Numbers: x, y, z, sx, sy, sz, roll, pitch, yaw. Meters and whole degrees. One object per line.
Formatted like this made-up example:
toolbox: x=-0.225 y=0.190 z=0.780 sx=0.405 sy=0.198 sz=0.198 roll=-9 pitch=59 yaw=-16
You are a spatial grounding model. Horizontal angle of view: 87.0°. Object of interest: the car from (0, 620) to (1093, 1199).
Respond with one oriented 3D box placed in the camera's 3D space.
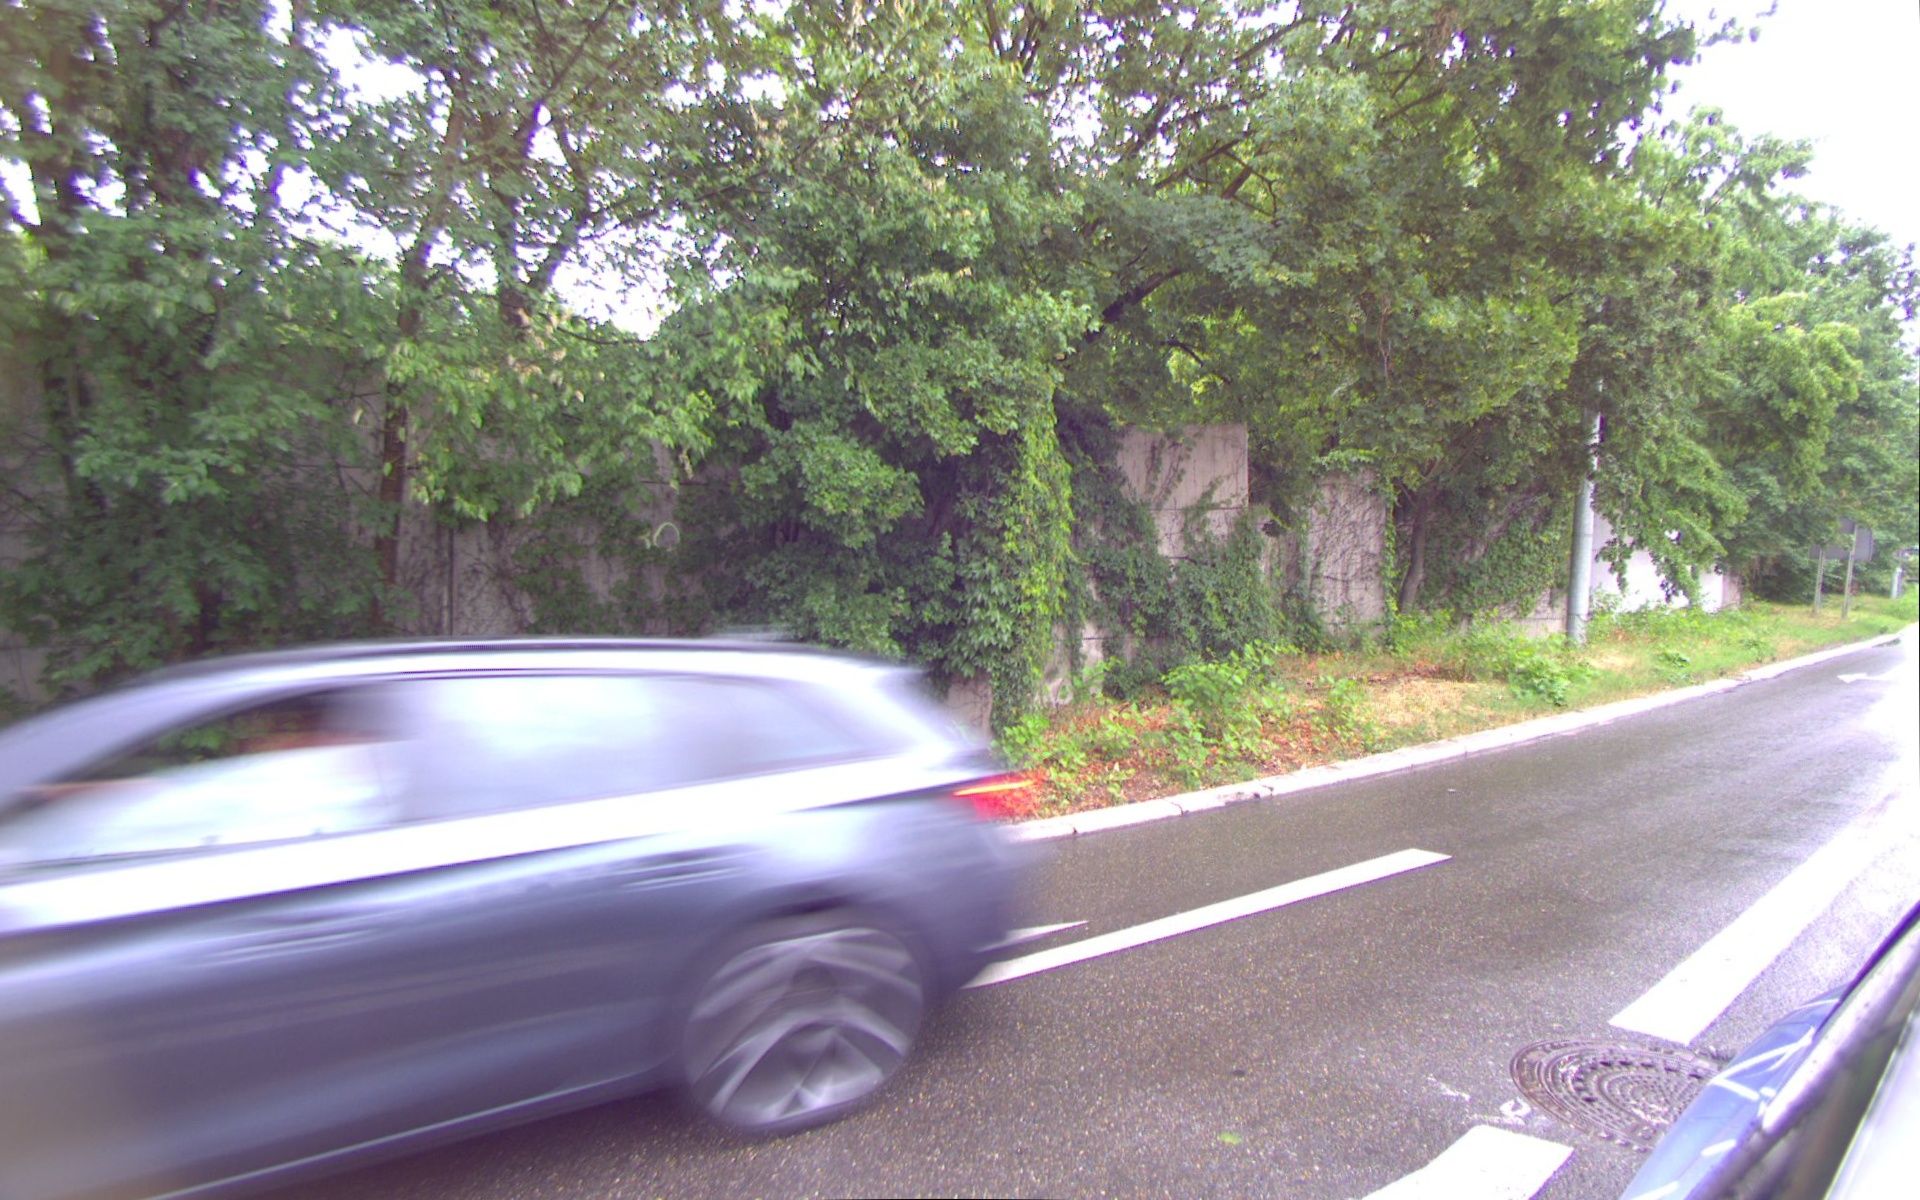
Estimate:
car: x=-1.849 y=0.781 z=3.025 sx=4.327 sy=1.421 sz=1.755 roll=0 pitch=-1 yaw=-32
